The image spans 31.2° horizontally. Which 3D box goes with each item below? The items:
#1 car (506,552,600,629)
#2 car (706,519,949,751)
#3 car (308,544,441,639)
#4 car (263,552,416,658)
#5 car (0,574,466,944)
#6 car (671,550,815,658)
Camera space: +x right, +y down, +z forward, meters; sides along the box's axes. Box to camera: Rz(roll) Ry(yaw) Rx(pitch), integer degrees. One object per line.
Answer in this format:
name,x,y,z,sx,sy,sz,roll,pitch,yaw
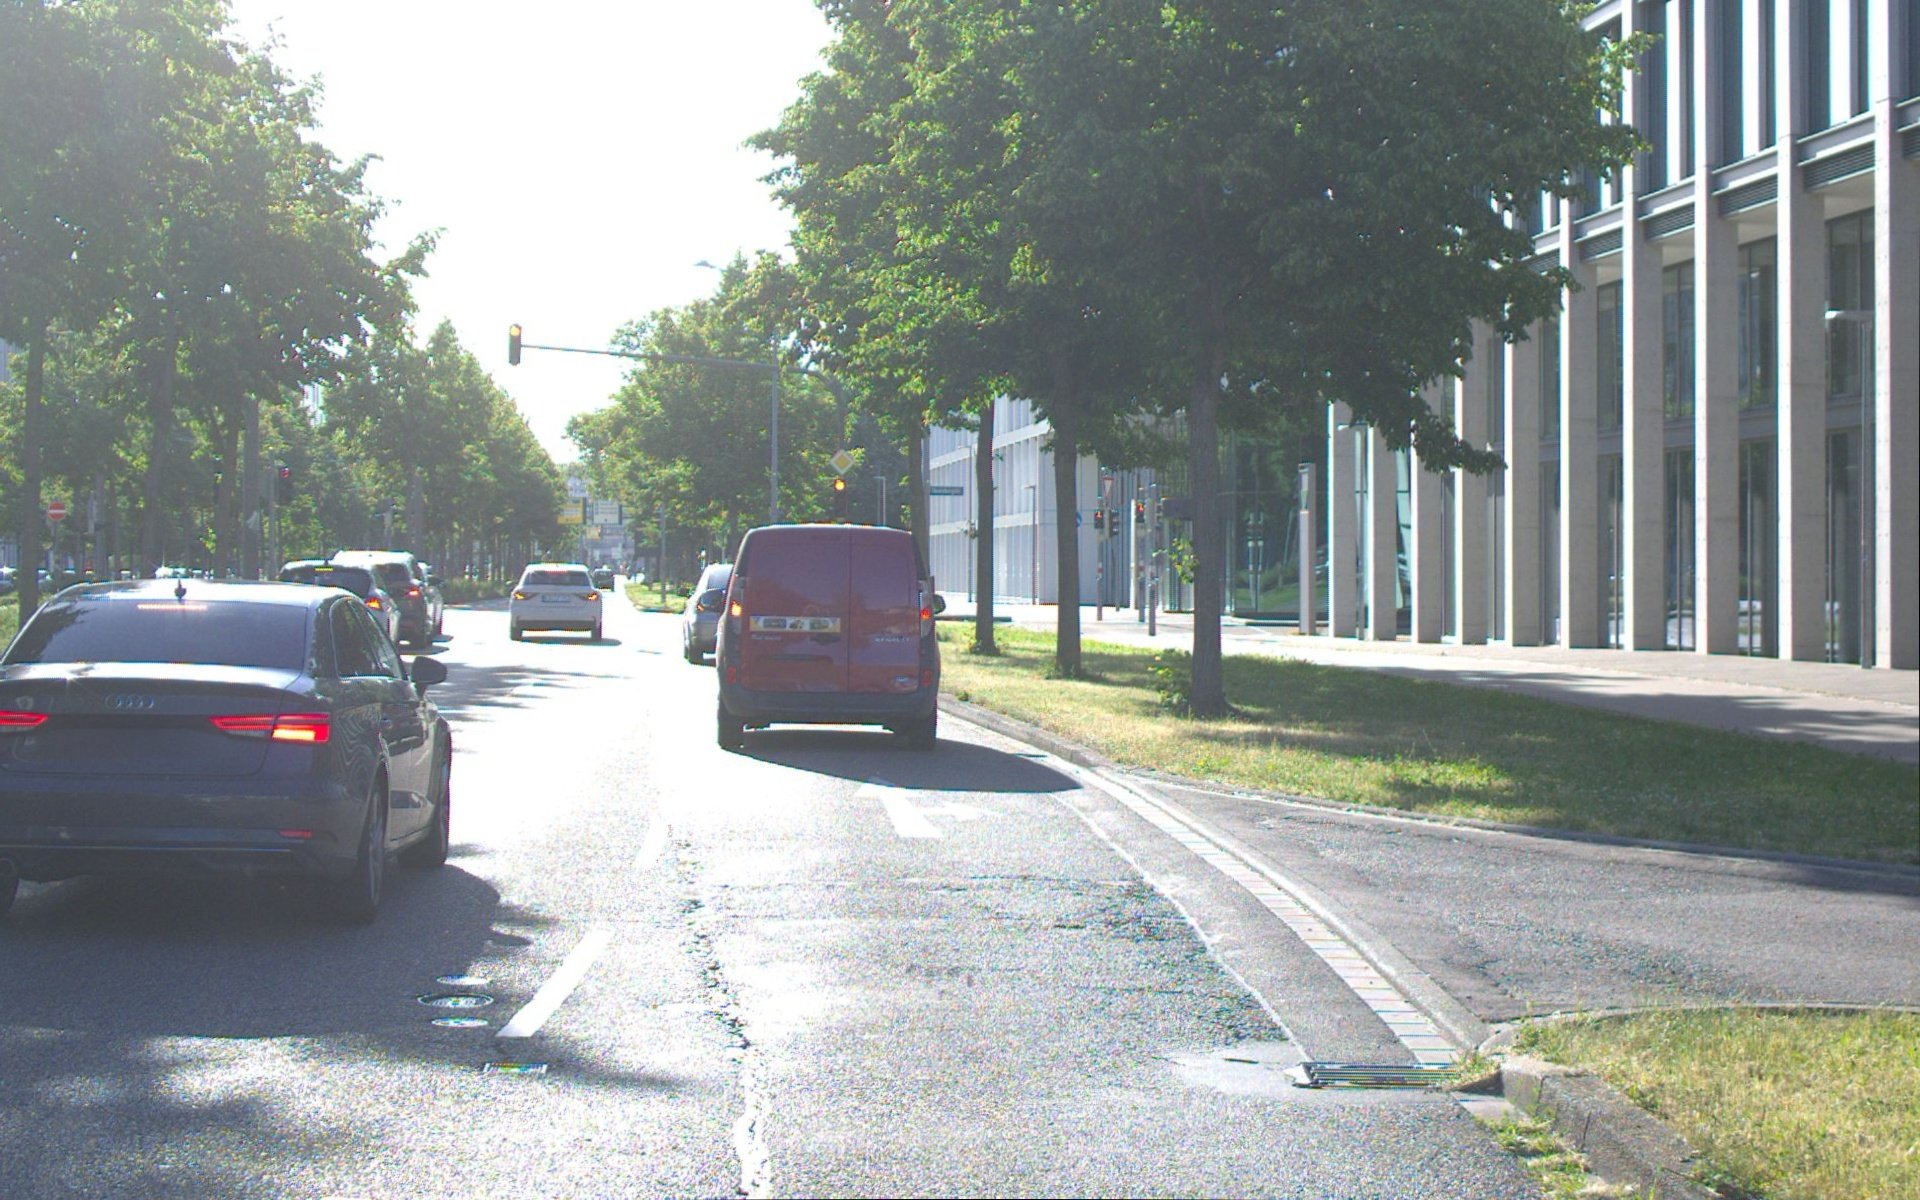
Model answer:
car,-7.689,-0.199,65.175,1.720,1.420,3.817,0,1,-6
car,-1.174,0.280,28.692,1.797,1.771,4.000,-1,0,-5
car,-9.755,-0.167,57.513,1.842,1.529,3.940,0,1,-4
car,-8.768,0.042,48.820,1.942,1.436,4.001,0,1,-7
car,-3.274,0.591,15.136,1.721,1.362,4.146,1,1,-2
car,-3.265,0.030,51.121,1.720,1.420,3.818,2,1,-9
